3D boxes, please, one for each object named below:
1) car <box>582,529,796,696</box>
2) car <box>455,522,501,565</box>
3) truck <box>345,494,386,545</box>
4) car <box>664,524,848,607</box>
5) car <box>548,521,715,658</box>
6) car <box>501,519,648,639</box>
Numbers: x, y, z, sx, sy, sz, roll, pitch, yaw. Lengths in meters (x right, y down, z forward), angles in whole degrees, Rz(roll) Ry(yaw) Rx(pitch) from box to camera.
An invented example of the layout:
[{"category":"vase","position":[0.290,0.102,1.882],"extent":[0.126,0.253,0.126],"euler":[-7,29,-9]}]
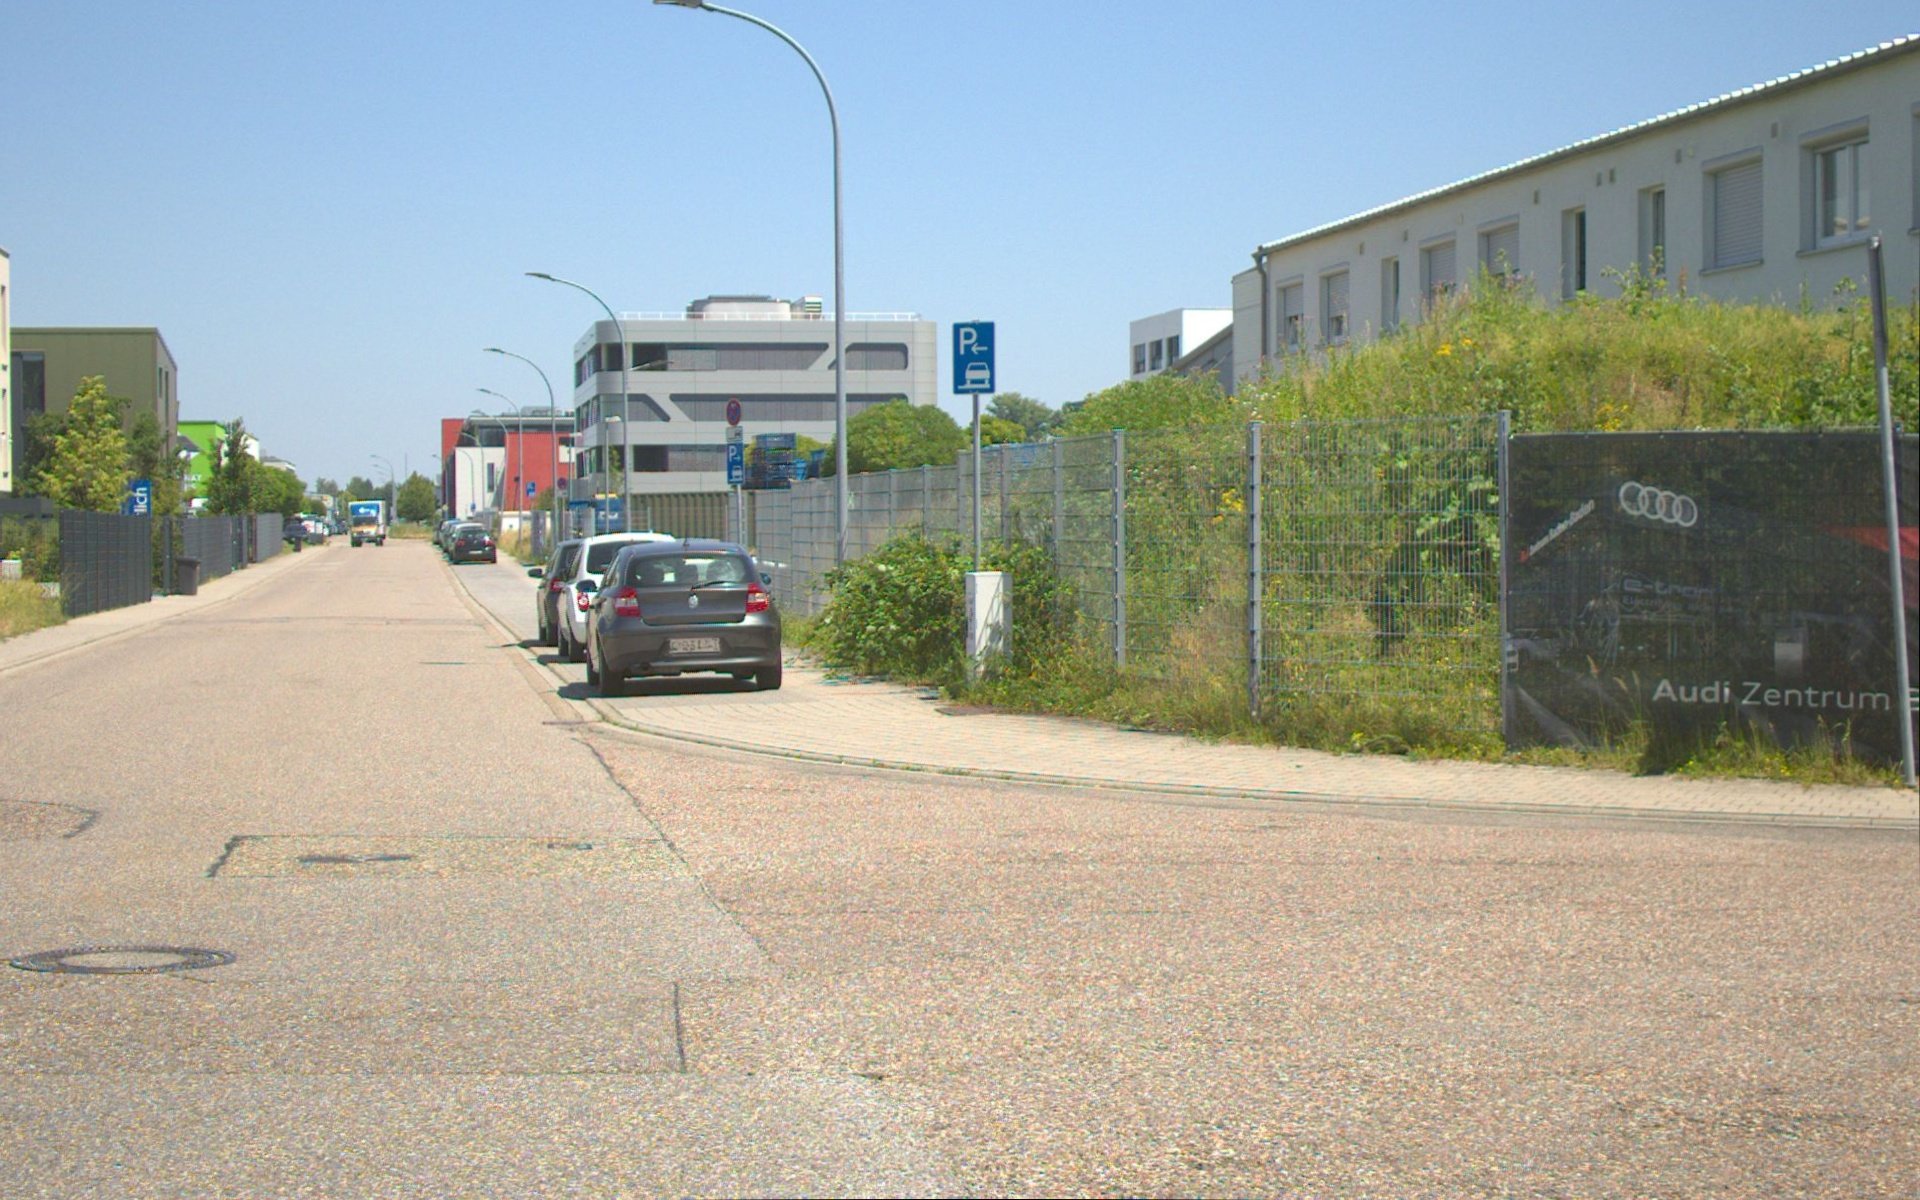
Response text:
[{"category":"car","position":[-2.694,0.070,33.441],"extent":[1.907,1.443,4.001],"euler":[-2,2,-6]},{"category":"car","position":[-20.038,-2.357,142.809],"extent":[1.775,1.722,4.001],"euler":[1,1,-9]},{"category":"truck","position":[-43.345,-5.907,250.384],"extent":[2.598,3.532,10.505],"euler":[-2,2,-11]},{"category":"car","position":[-5.334,-0.909,89.505],"extent":[4.624,2.007,2.607],"euler":[1,1,-5]},{"category":"car","position":[-4.100,-0.170,42.646],"extent":[1.907,1.541,4.001],"euler":[-2,2,-6]},{"category":"car","position":[-5.395,-0.327,48.200],"extent":[1.907,1.541,4.001],"euler":[-2,2,-6]}]
